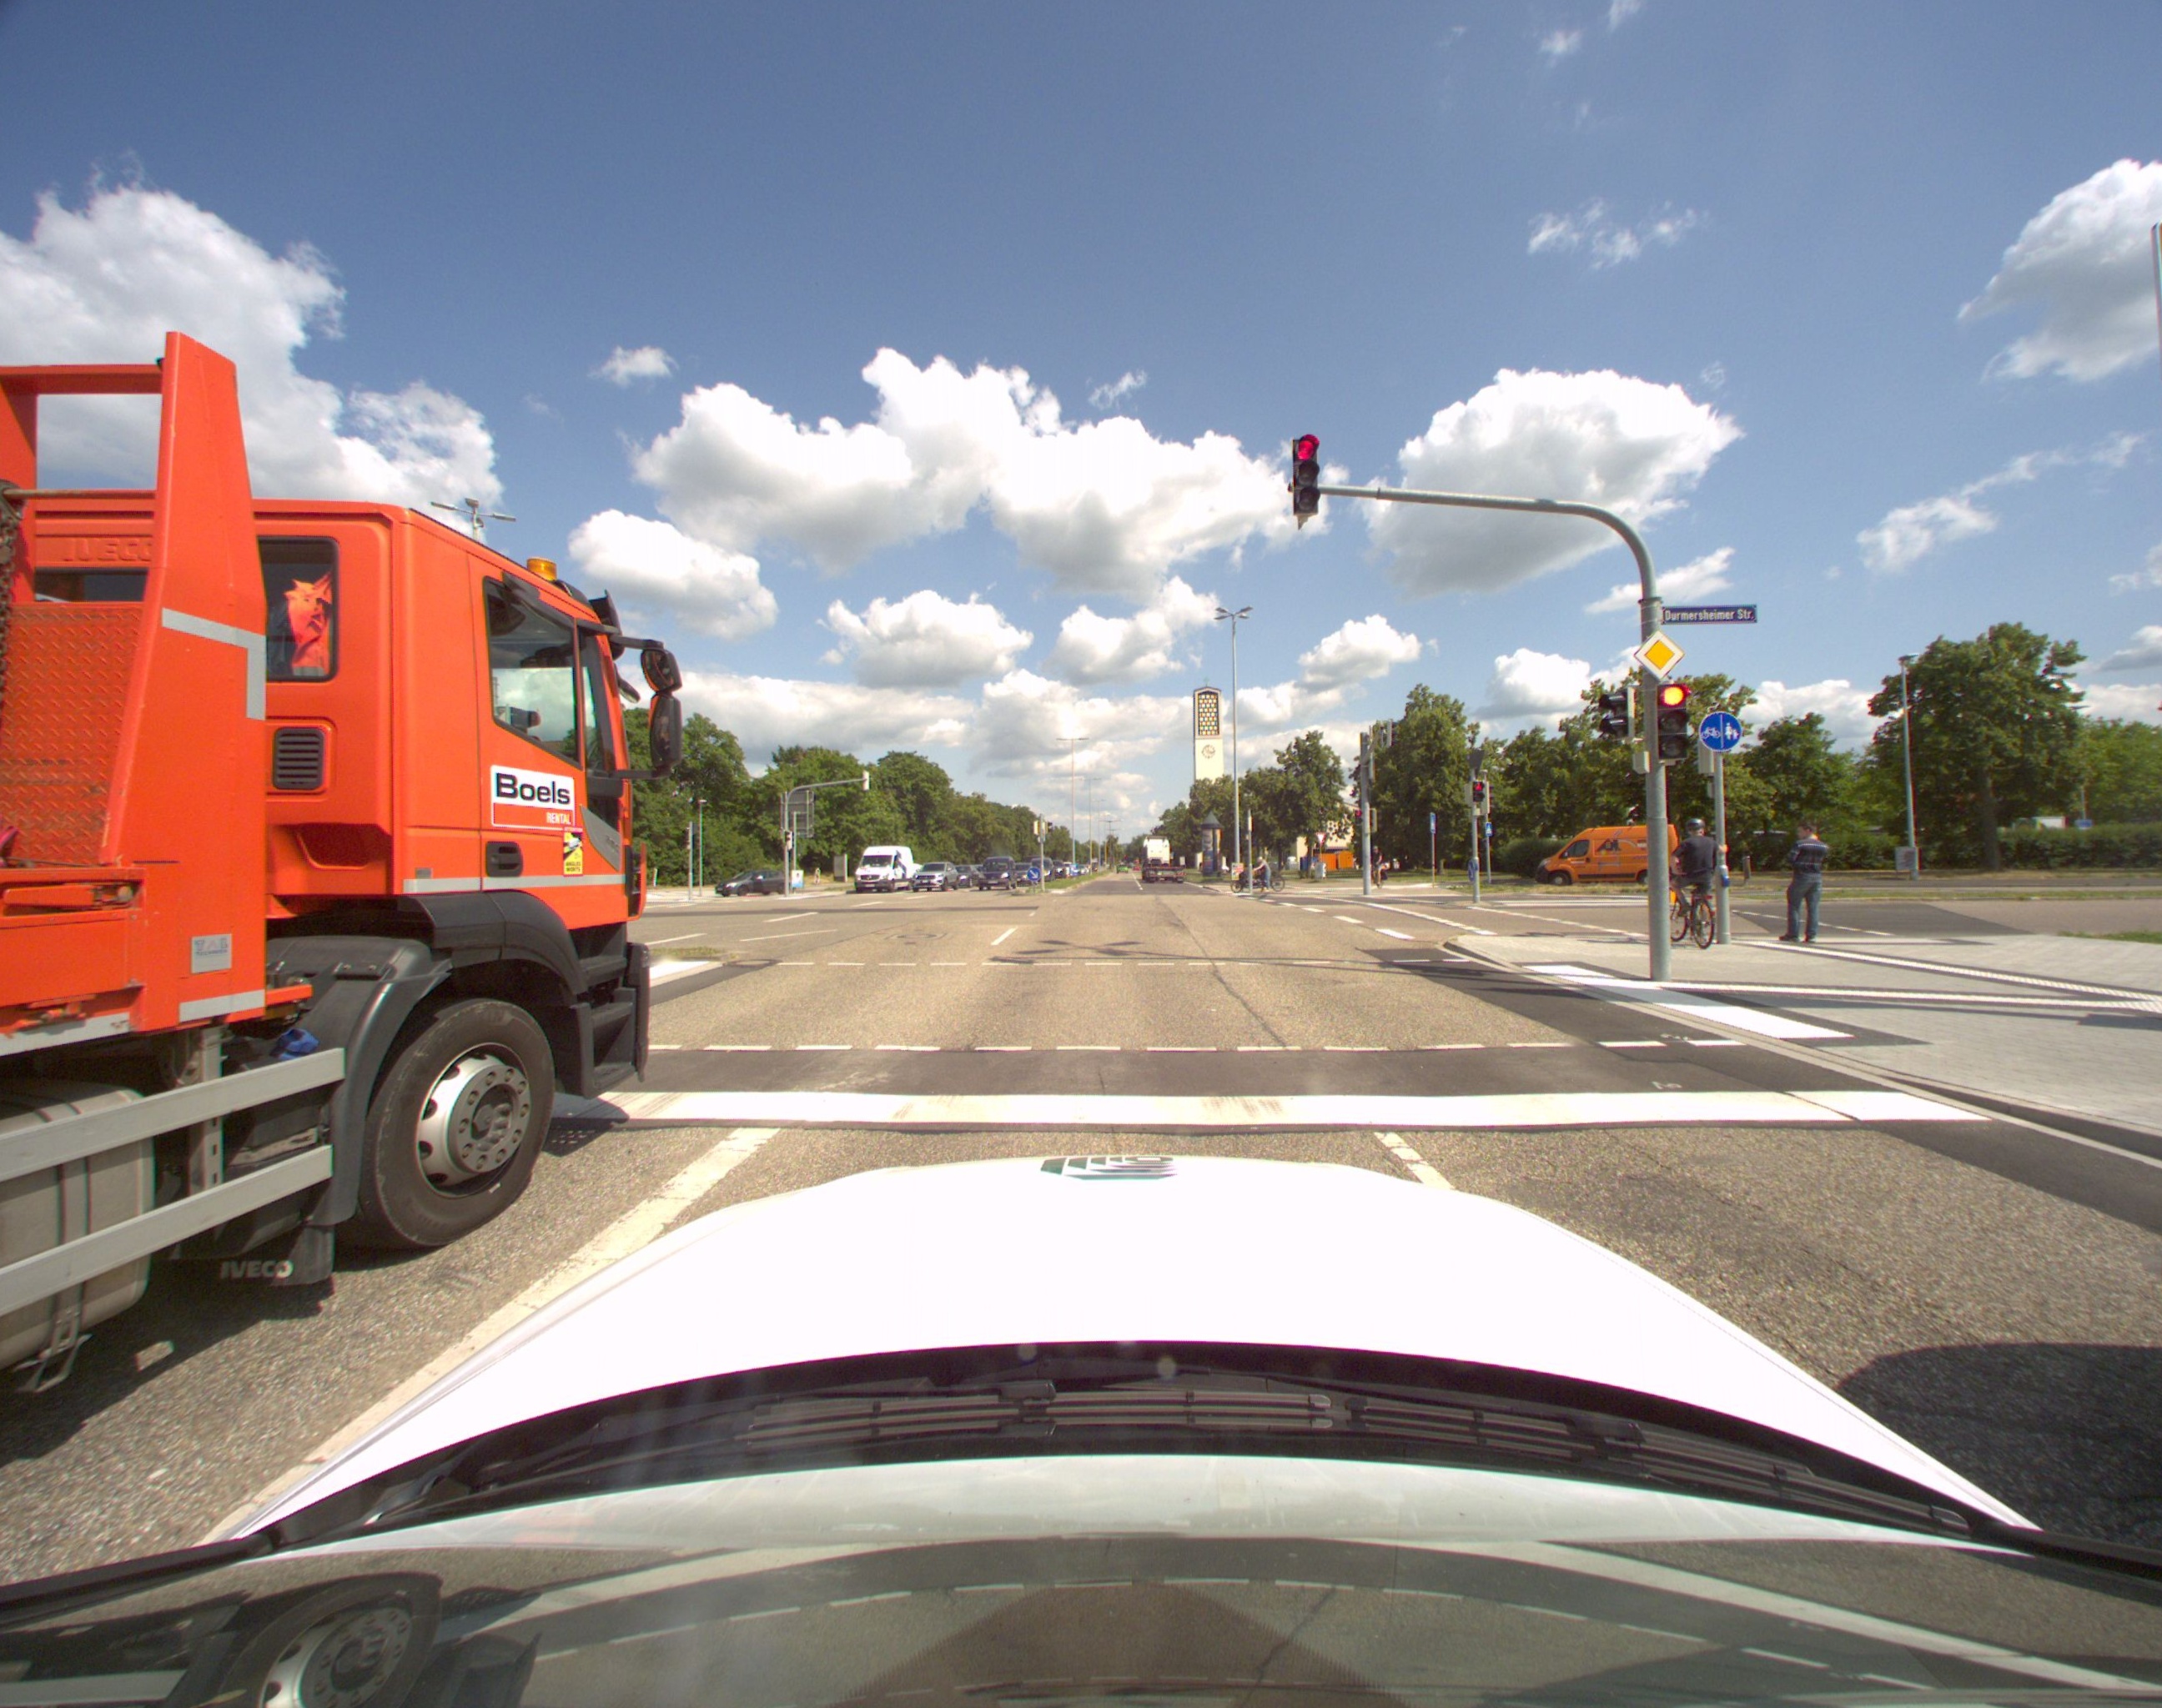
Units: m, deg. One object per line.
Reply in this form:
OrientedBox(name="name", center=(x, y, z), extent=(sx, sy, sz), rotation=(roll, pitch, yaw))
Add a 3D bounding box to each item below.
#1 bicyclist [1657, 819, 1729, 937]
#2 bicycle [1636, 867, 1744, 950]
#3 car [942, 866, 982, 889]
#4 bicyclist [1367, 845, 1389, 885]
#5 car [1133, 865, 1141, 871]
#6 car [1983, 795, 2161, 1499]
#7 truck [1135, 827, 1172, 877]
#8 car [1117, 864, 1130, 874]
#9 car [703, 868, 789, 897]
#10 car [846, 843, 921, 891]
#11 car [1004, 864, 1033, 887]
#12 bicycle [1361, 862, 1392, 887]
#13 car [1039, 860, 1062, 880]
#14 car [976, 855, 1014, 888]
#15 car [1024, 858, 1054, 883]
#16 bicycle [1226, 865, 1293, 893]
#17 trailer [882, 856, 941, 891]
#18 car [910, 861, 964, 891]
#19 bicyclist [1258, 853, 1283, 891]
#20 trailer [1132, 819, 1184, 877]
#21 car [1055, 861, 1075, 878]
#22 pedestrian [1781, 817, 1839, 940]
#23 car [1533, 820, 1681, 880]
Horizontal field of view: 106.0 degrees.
OrientedBox(name="bicyclist", center=(8.893, 0.338, 11.861), extent=(0.643, 1.661, 0.653), rotation=(1, -1, 16))
OrientedBox(name="bicycle", center=(8.938, 0.752, 12.042), extent=(0.643, 1.108, 1.936), rotation=(1, -1, 16))
OrientedBox(name="car", center=(-7.236, 1.416, 49.776), extent=(1.757, 1.352, 3.520), rotation=(-1, -1, 2))
OrientedBox(name="bicyclist", center=(13.491, 0.489, 36.986), extent=(0.677, 1.804, 0.794), rotation=(-1, -1, 40))
OrientedBox(name="car", center=(15.762, 3.937, 229.231), extent=(1.986, 1.552, 4.001), rotation=(1, -1, 2))
OrientedBox(name="car", center=(3.286, 0.638, 0.173), extent=(1.793, 1.552, 3.999), rotation=(1, -1, 0))
OrientedBox(name="truck", center=(6.282, -0.058, 69.627), extent=(2.944, 3.971, 8.651), rotation=(0, -1, 6))
OrientedBox(name="car", center=(6.885, 2.409, 132.043), extent=(1.986, 1.552, 4.001), rotation=(1, -1, 2))
OrientedBox(name="car", center=(-18.683, 1.574, 45.565), extent=(1.974, 1.530, 4.024), rotation=(1, -1, 31))
OrientedBox(name="car", center=(-10.945, 0.749, 45.698), extent=(2.163, 2.471, 5.977), rotation=(1, -1, 6))
OrientedBox(name="car", center=(-3.856, 1.316, 50.638), extent=(1.563, 1.316, 3.431), rotation=(1, -1, 0))
OrientedBox(name="bicycle", center=(13.366, 0.908, 36.822), extent=(0.677, 1.093, 2.016), rotation=(-1, -1, 40))
OrientedBox(name="car", center=(-2.635, 1.392, 71.324), extent=(1.728, 1.660, 4.232), rotation=(1, -1, 2))
OrientedBox(name="car", center=(-4.499, 0.920, 43.181), extent=(1.730, 1.660, 4.226), rotation=(1, -1, -3))
OrientedBox(name="car", center=(-2.968, 1.133, 58.213), extent=(1.728, 1.660, 4.233), rotation=(1, 0, 2))
OrientedBox(name="bicycle", center=(7.713, 1.056, 35.152), extent=(2.844, 1.112, 0.791), rotation=(0, 0, -22))
OrientedBox(name="trailer", center=(-10.582, 1.209, 51.319), extent=(2.114, 2.014, 5.169), rotation=(1, -1, 6))
OrientedBox(name="car", center=(-7.688, 1.156, 43.898), extent=(1.726, 1.543, 4.316), rotation=(1, -1, 6))
OrientedBox(name="bicyclist", center=(8.229, 0.762, 35.360), extent=(0.701, 1.616, 0.791), rotation=(0, 0, -22))
OrientedBox(name="trailer", center=(5.935, -0.286, 61.940), extent=(3.602, 4.012, 11.337), rotation=(0, -1, 6))
OrientedBox(name="car", center=(-1.594, 1.581, 83.383), extent=(1.727, 1.660, 4.234), rotation=(1, -1, 3))
OrientedBox(name="pedestrian", center=(10.806, 0.353, 12.082), extent=(0.461, 1.779, 0.483), rotation=(1, -1, 11))
OrientedBox(name="car", center=(21.032, -0.144, 32.621), extent=(4.797, 2.226, 2.225), rotation=(0, -1, 38))
